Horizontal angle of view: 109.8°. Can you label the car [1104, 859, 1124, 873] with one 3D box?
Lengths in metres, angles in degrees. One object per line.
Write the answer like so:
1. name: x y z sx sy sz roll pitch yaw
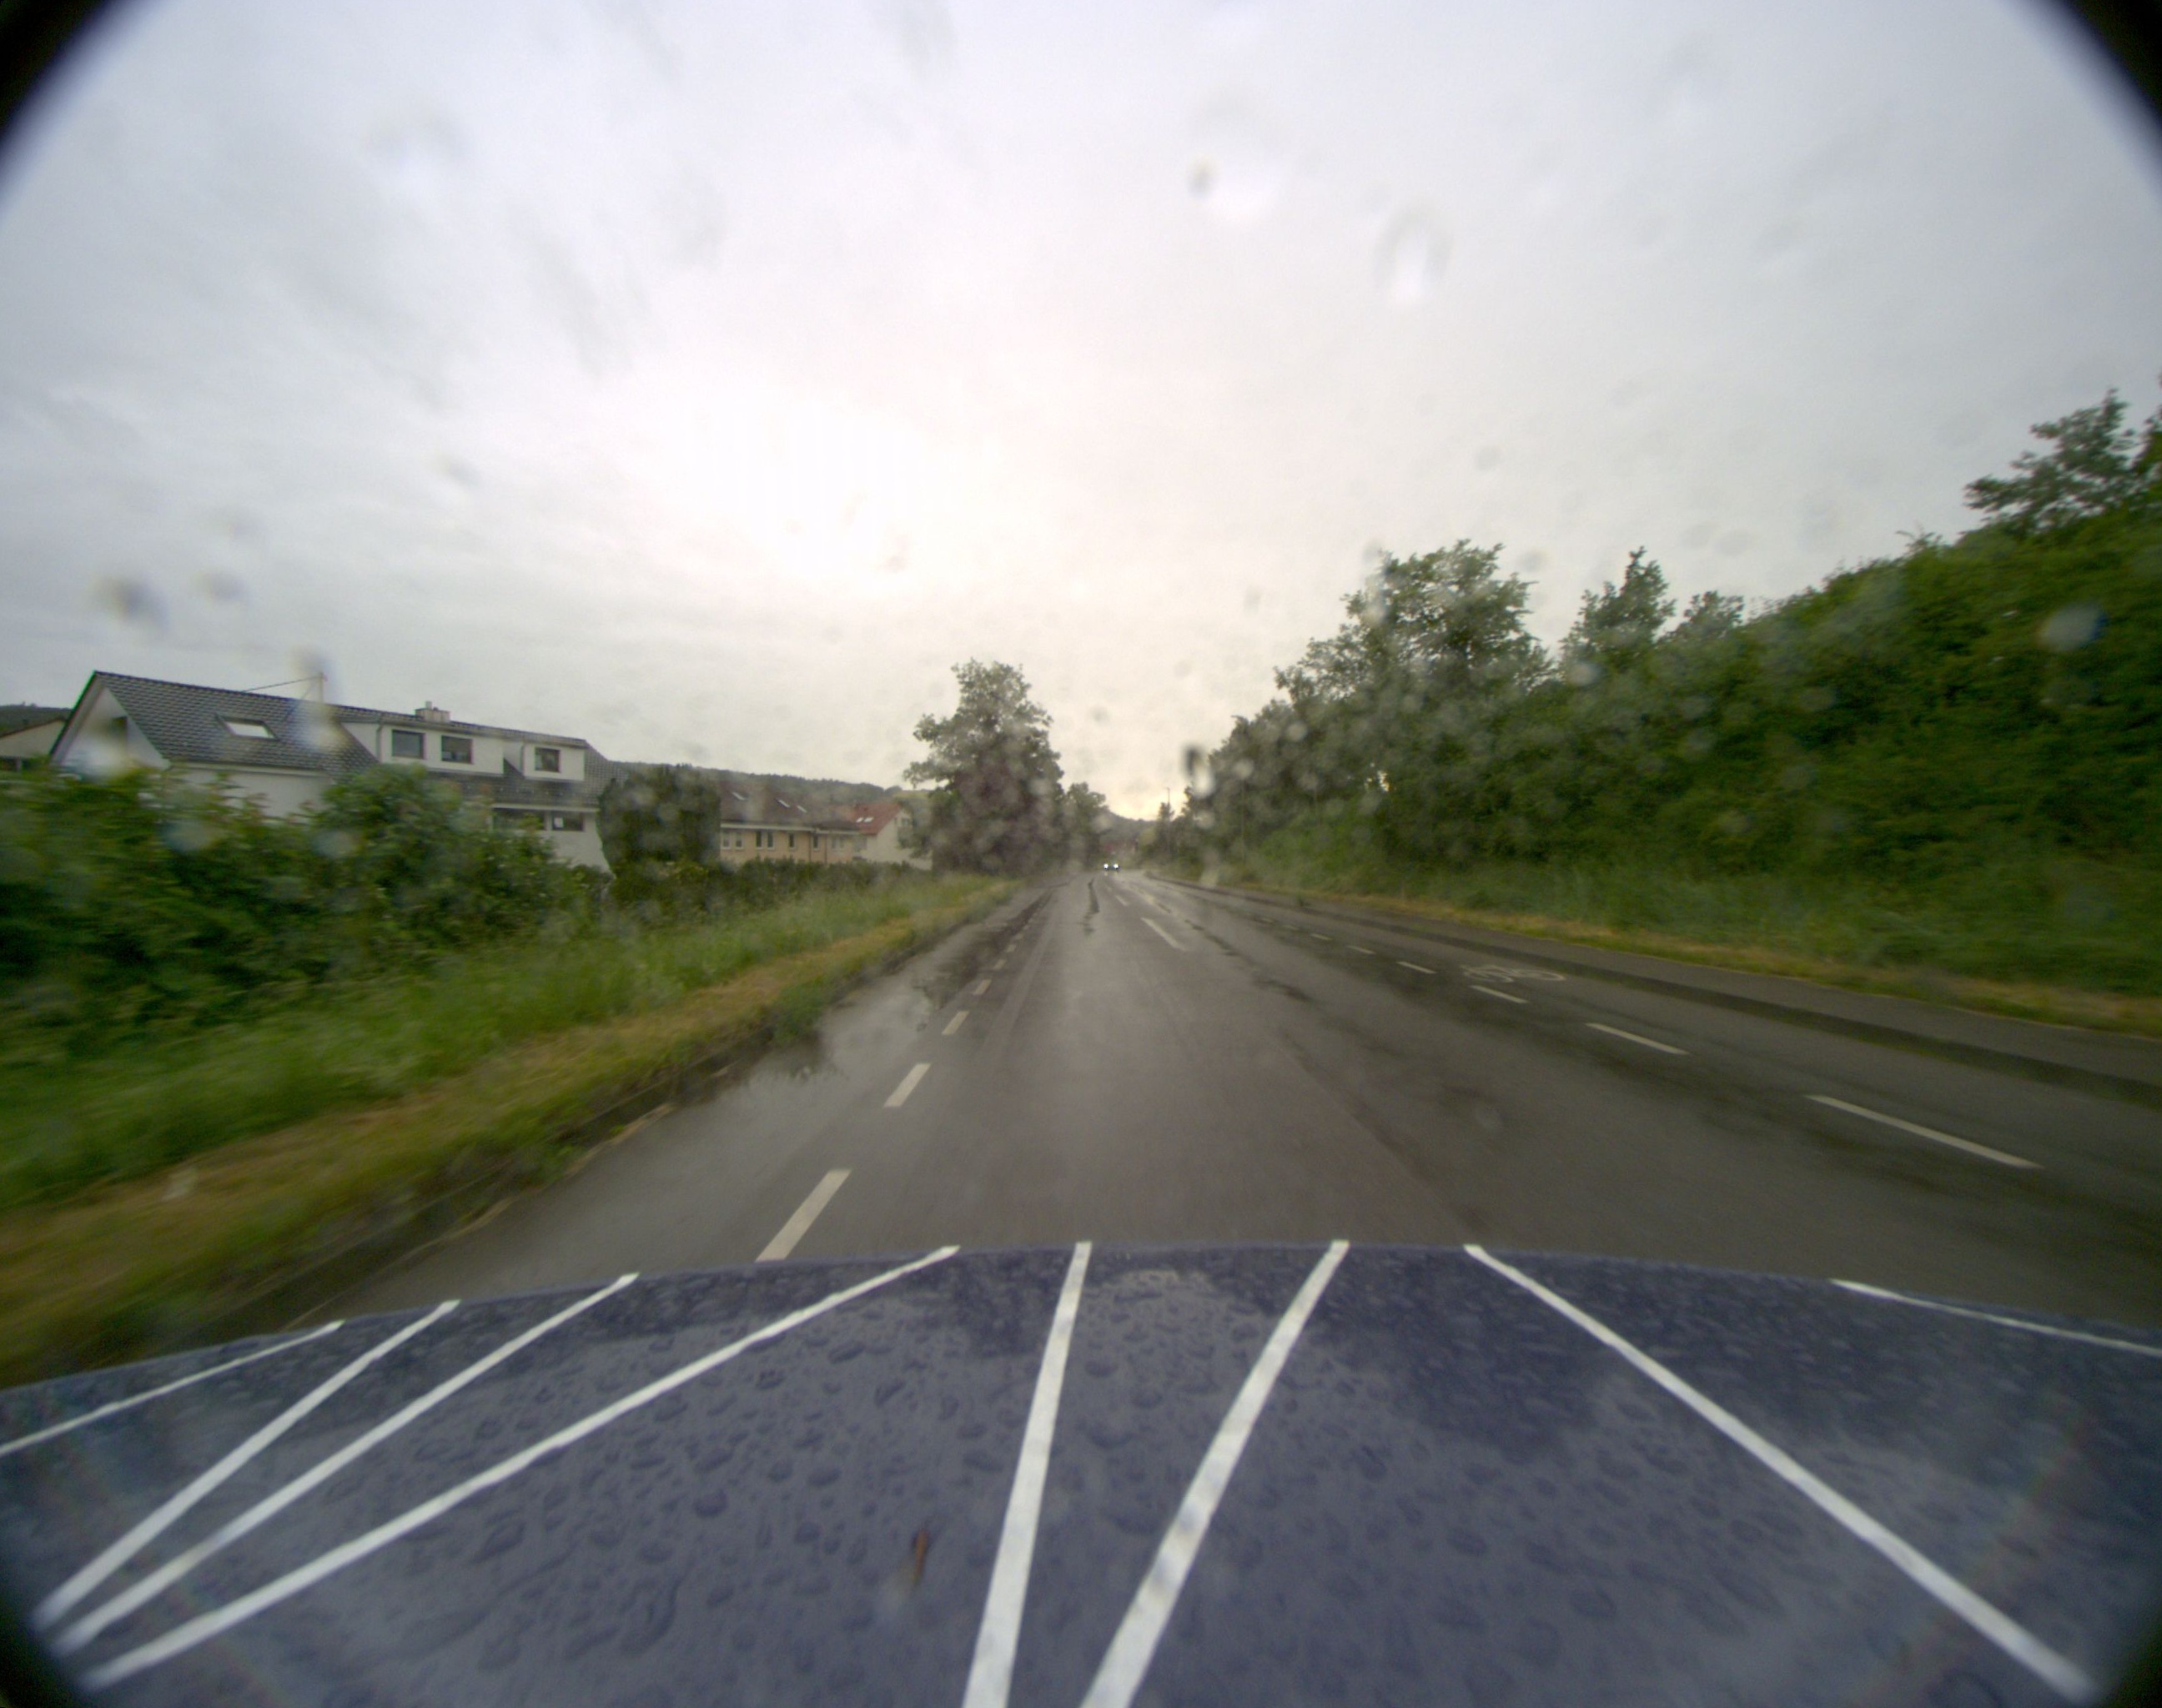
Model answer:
1. car: 4.840 1.721 109.777 1.996 1.831 4.005 -1 0 15
